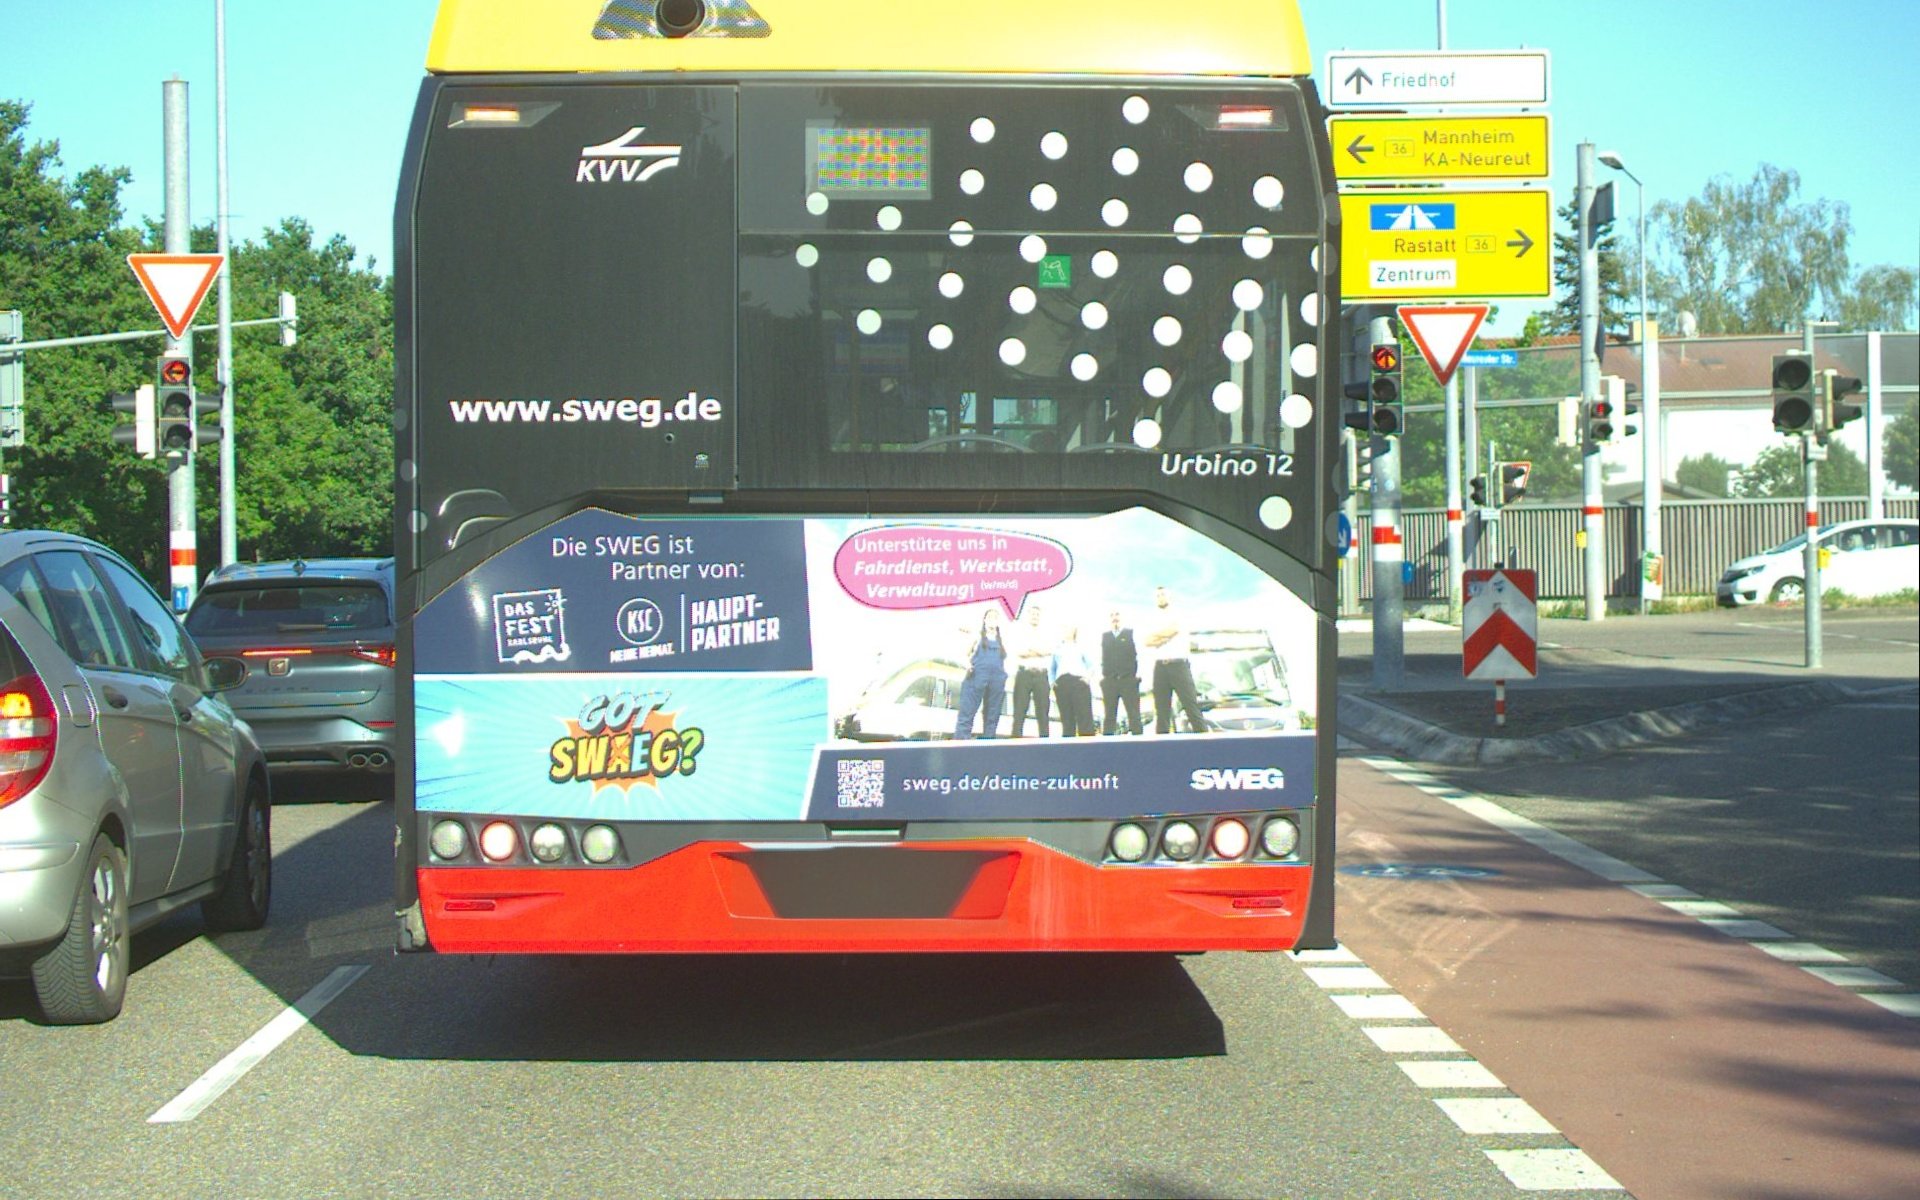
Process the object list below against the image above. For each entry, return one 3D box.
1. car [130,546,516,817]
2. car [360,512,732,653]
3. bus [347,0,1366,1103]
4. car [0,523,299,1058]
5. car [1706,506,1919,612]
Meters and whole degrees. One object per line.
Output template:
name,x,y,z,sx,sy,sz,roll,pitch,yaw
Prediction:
car,-3.809,0.426,21.123,1.692,1.453,3.751,-2,1,-1
car,-5.025,-0.227,41.863,4.067,1.521,1.768,-3,1,-31
bus,-0.289,-0.405,14.890,2.642,3.156,11.861,0,1,0
car,-3.602,0.558,12.192,1.761,1.584,4.000,-2,1,-1
car,13.954,-0.636,54.459,3.806,1.607,1.707,1,0,-6
